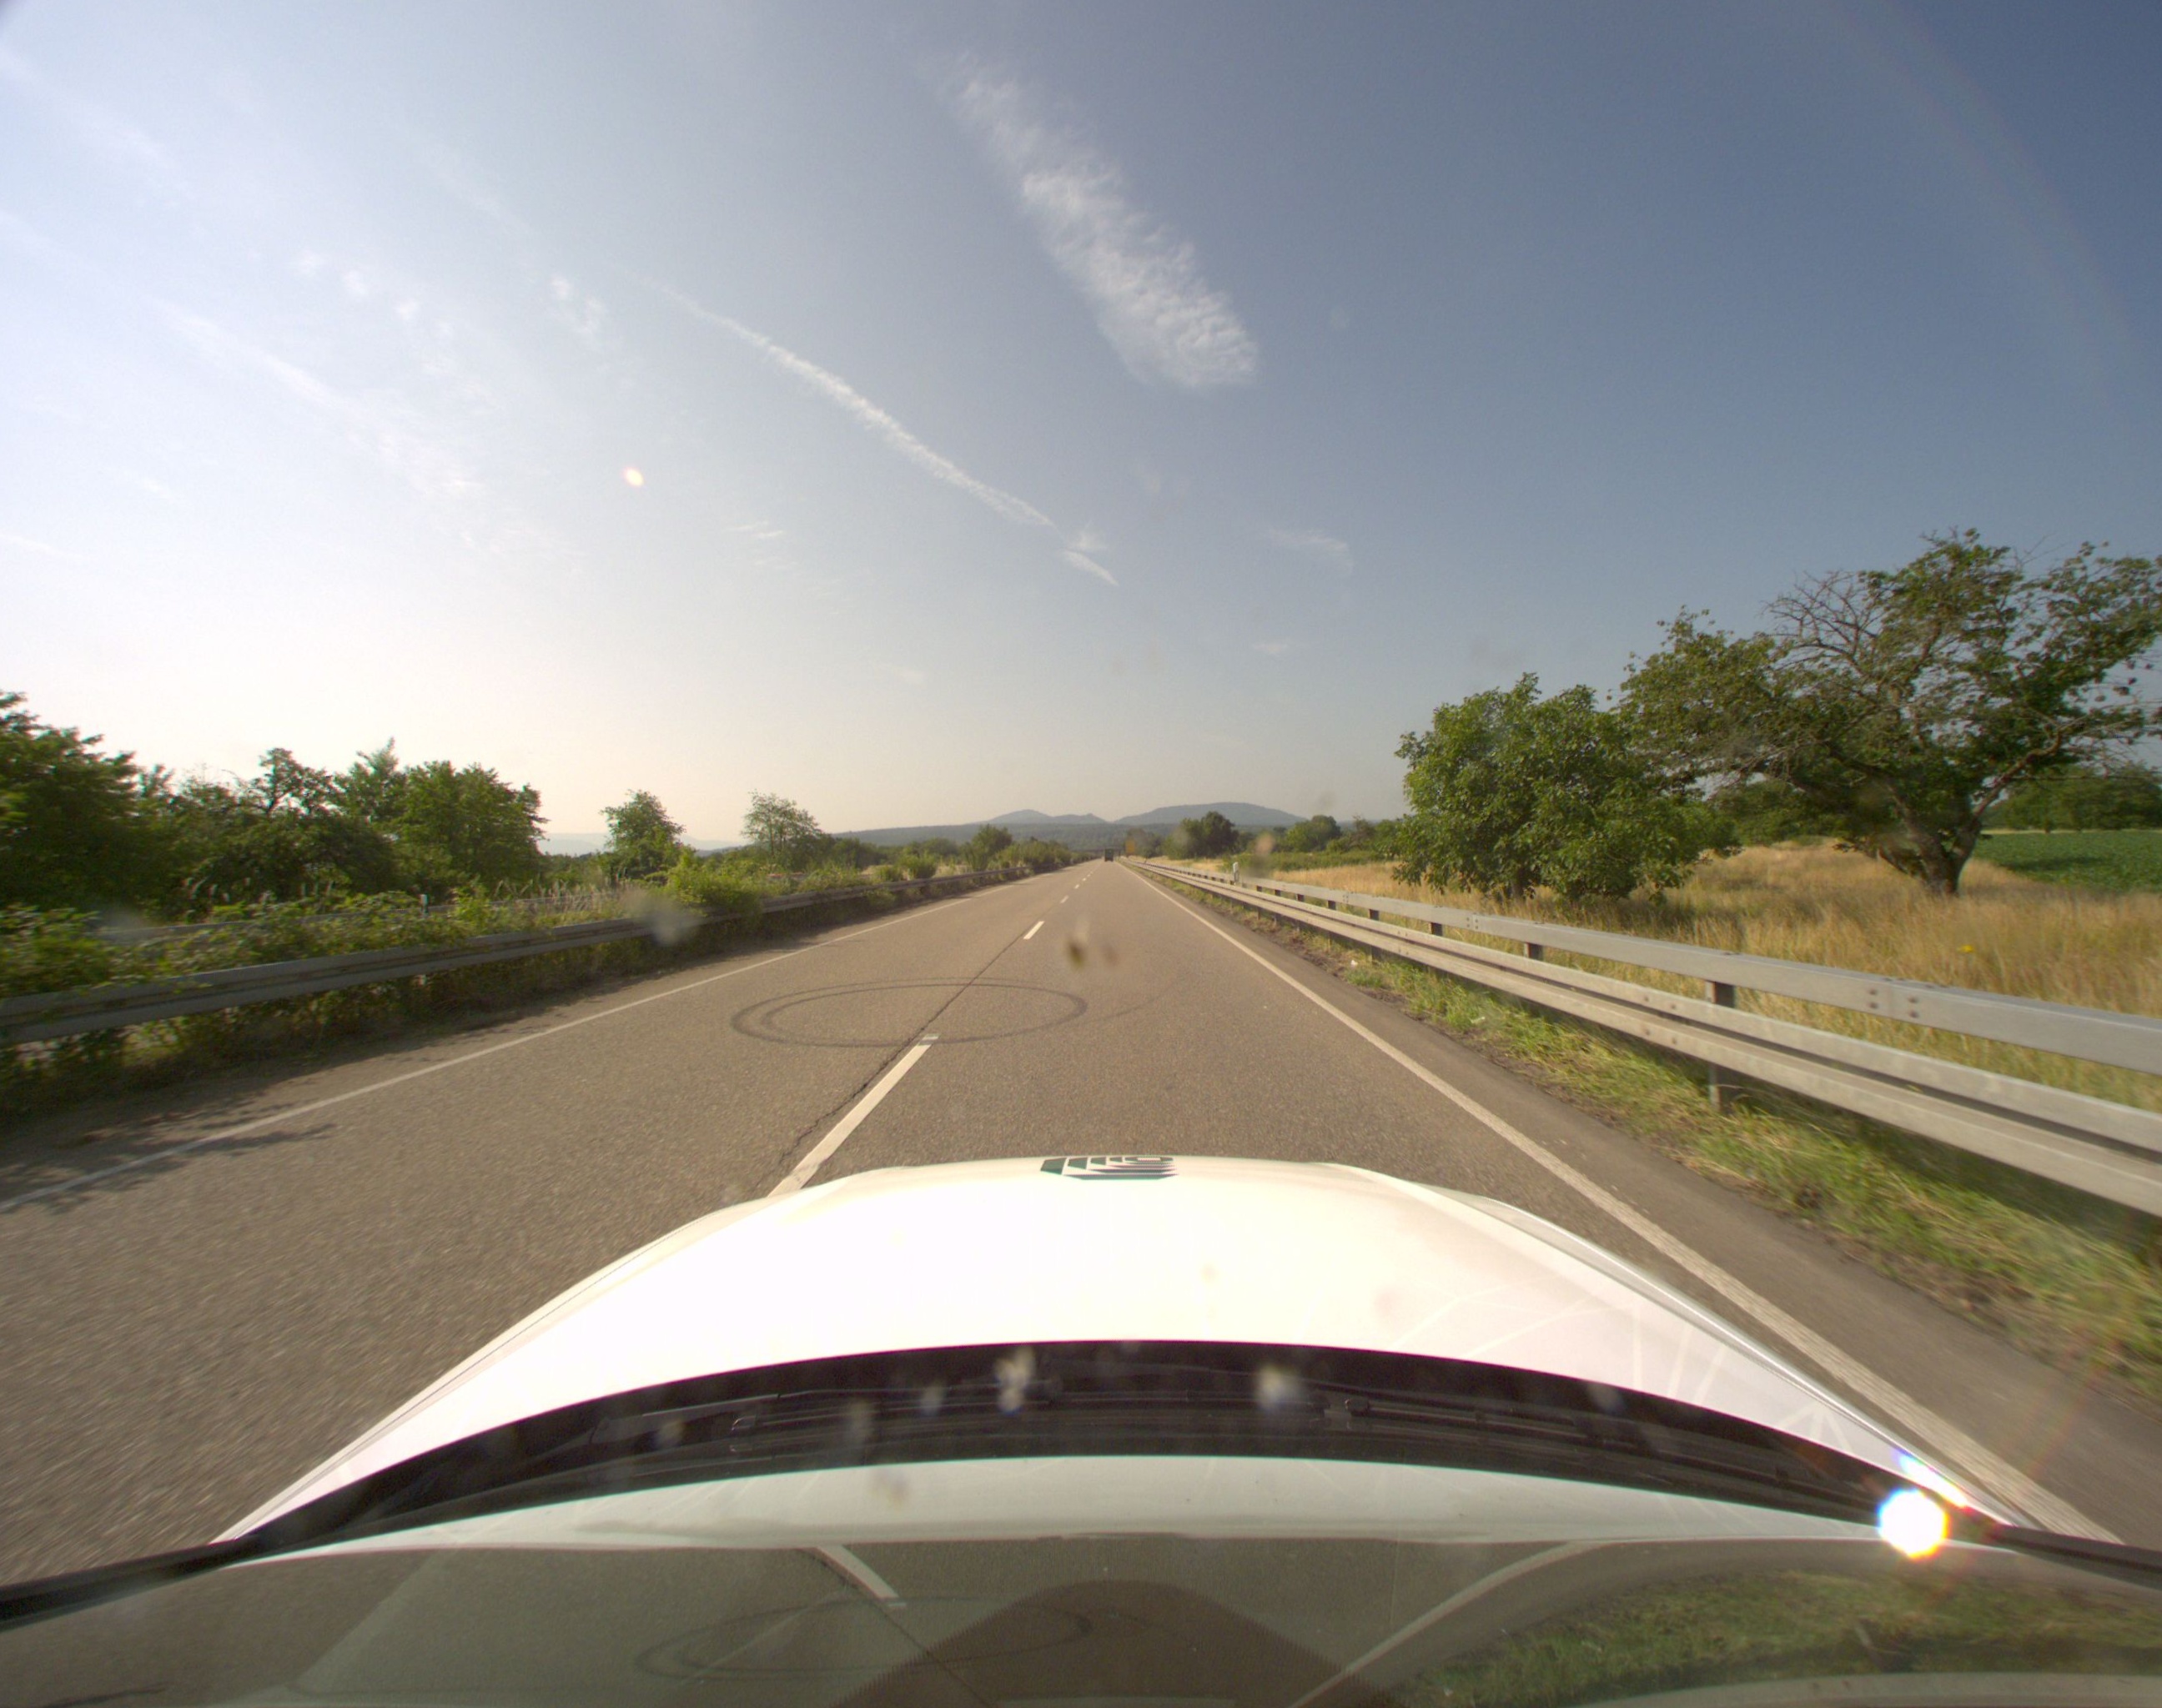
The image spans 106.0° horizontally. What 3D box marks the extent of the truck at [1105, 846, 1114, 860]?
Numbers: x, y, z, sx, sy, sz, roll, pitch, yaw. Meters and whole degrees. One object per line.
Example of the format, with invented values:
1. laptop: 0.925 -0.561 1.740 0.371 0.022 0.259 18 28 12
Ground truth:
1. truck: 8.215 -0.404 234.182 2.711 3.965 10.422 0 1 2
